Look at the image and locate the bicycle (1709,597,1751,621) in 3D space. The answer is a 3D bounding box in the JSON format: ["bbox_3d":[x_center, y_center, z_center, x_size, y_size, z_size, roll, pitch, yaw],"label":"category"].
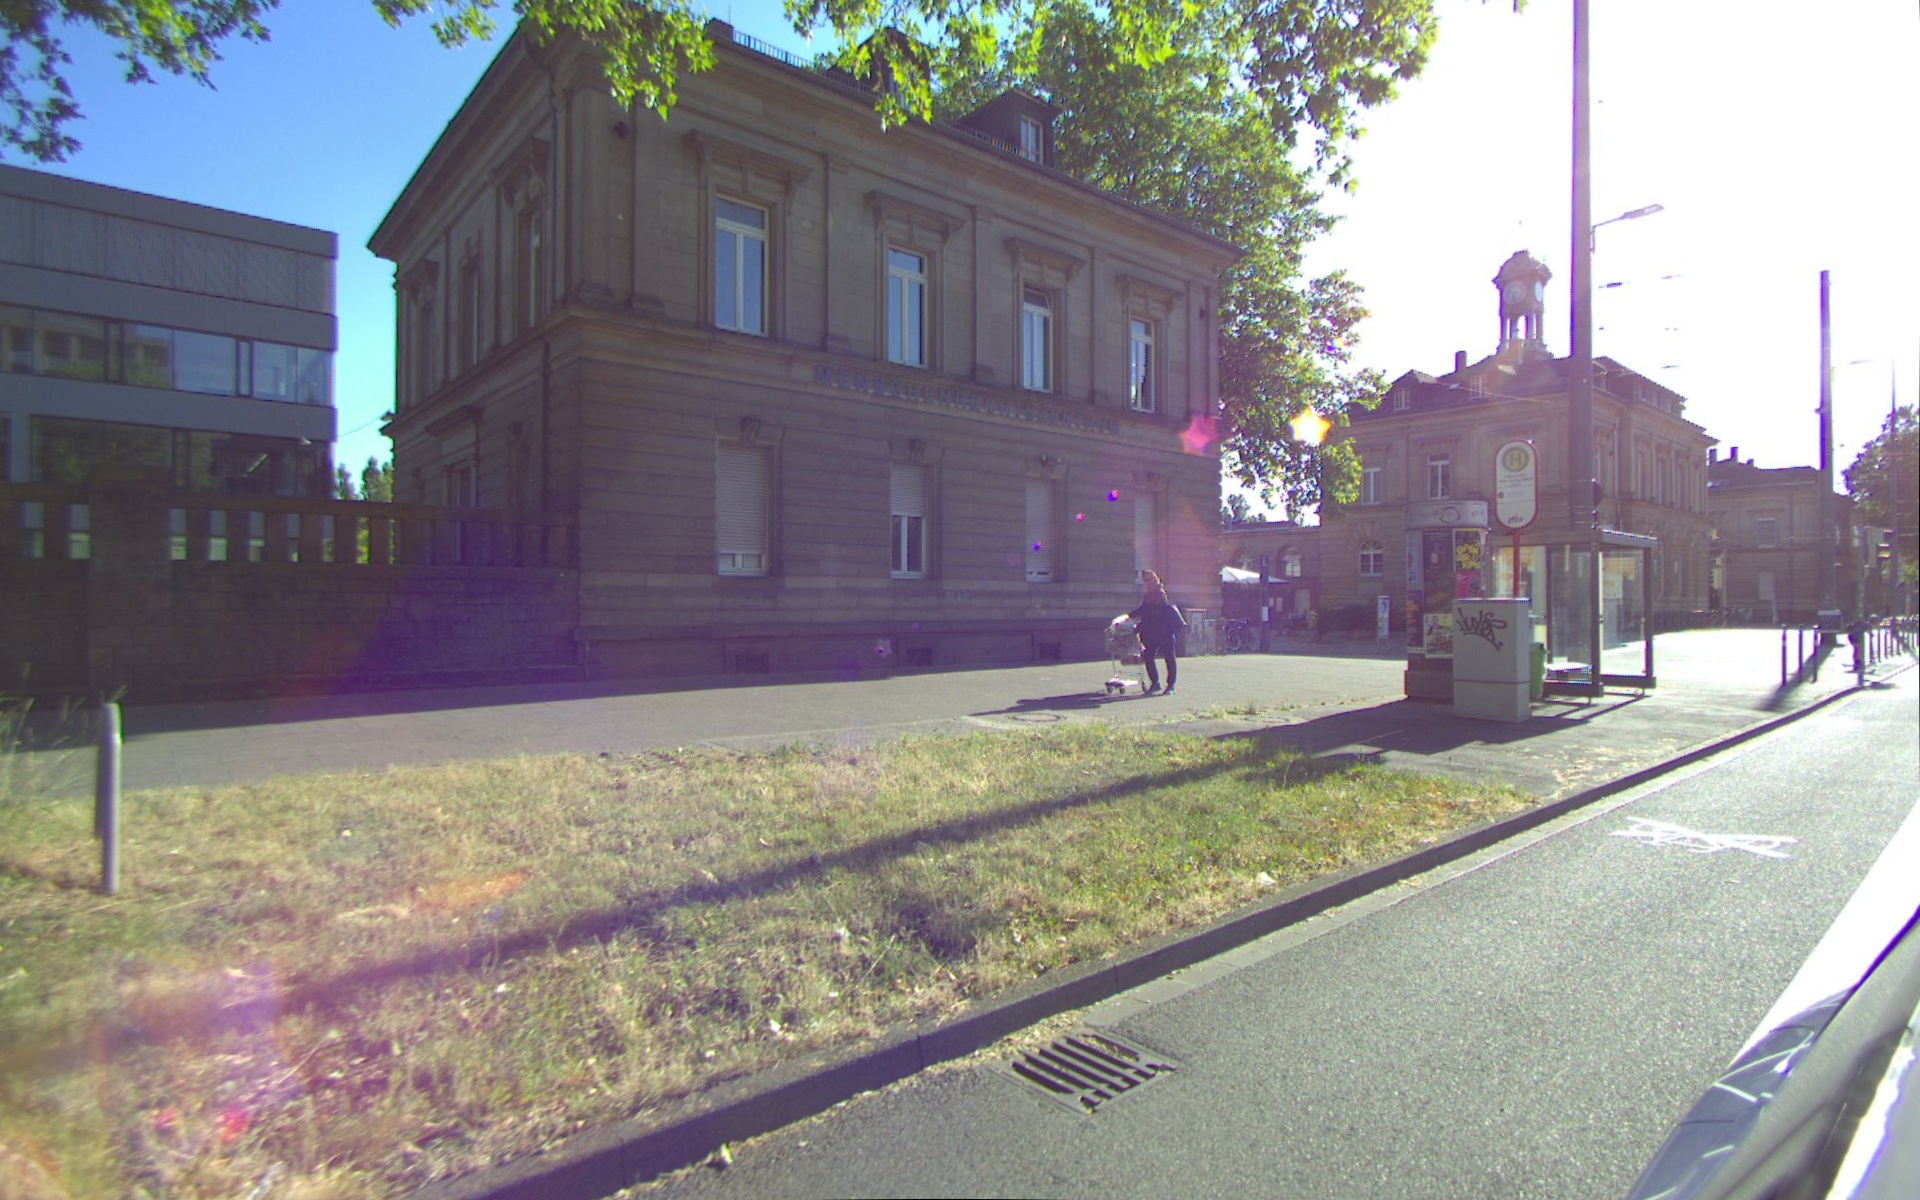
[{"bbox_3d":[40.077,0.441,52.657,0.679,1.196,1.648,0,1,-42],"label":"bicycle"}]

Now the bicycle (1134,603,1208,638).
[{"bbox_3d":[7.951,0.768,38.247,2.653,1.295,0.772,-1,-1,37],"label":"bicycle"}]

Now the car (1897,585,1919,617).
[{"bbox_3d":[63.401,0.019,66.639,3.926,2.072,1.833,-1,0,-37],"label":"car"}]

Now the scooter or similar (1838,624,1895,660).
[{"bbox_3d":[22.122,1.017,24.705,0.260,0.822,1.023,0,0,-40],"label":"scooter or similar"}]

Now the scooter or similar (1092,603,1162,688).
[{"bbox_3d":[2.454,0.649,14.872,0.718,1.170,0.748,2,1,43],"label":"scooter or similar"}]

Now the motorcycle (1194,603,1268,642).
[{"bbox_3d":[8.451,0.682,31.626,0.869,1.174,2.227,-1,0,-33],"label":"motorcycle"}]

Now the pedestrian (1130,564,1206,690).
[{"bbox_3d":[3.022,0.368,14.701,0.769,1.766,0.784,2,1,43],"label":"pedestrian"}]

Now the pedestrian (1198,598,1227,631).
[{"bbox_3d":[11.264,0.642,45.106,0.979,1.397,0.775,1,1,-28],"label":"pedestrian"}]

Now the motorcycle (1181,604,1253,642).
[{"bbox_3d":[7.841,0.697,30.965,0.869,1.117,2.084,-1,0,-33],"label":"motorcycle"}]

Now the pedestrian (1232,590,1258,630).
[{"bbox_3d":[12.790,0.446,45.408,1.021,1.766,0.996,0,1,11],"label":"pedestrian"}]

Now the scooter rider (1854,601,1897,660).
[{"bbox_3d":[22.294,0.724,24.636,0.589,1.414,0.702,0,0,-40],"label":"scooter rider"}]
